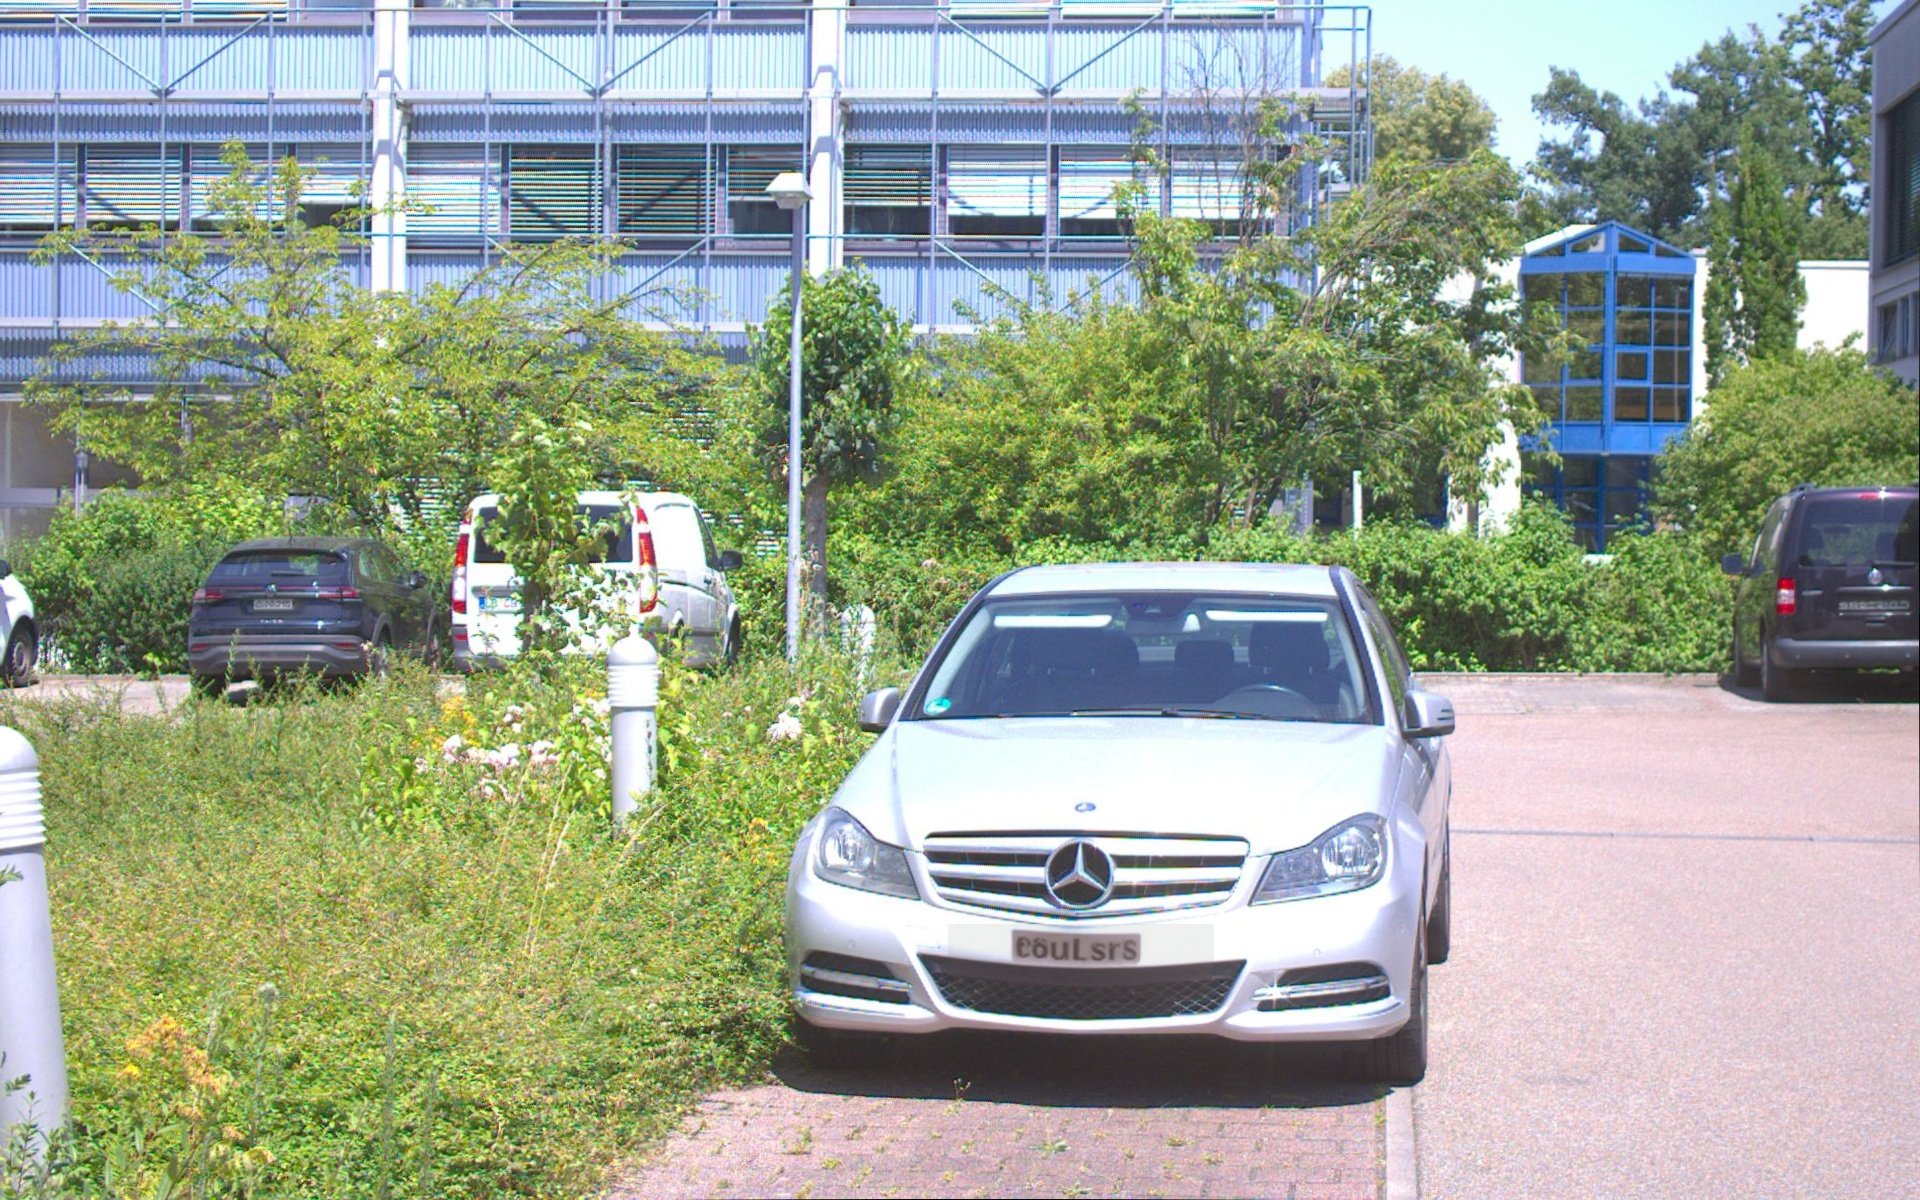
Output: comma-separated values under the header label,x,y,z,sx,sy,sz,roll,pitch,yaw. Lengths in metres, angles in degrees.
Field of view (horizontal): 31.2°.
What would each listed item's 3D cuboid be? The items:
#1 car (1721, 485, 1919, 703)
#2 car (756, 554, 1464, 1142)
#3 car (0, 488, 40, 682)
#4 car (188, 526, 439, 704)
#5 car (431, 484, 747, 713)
label,x,y,z,sx,sy,sz,roll,pitch,yaw
car,7.937,-0.106,30.830,1.743,1.830,3.999,0,2,6
car,0.668,0.600,10.831,1.730,1.452,4.146,0,1,9
car,-10.489,-0.093,32.211,1.882,1.884,4.802,0,2,8
car,-5.972,0.086,32.171,1.754,1.471,4.001,-1,2,-3
car,-3.266,-0.091,31.261,1.913,1.898,4.807,0,2,5
